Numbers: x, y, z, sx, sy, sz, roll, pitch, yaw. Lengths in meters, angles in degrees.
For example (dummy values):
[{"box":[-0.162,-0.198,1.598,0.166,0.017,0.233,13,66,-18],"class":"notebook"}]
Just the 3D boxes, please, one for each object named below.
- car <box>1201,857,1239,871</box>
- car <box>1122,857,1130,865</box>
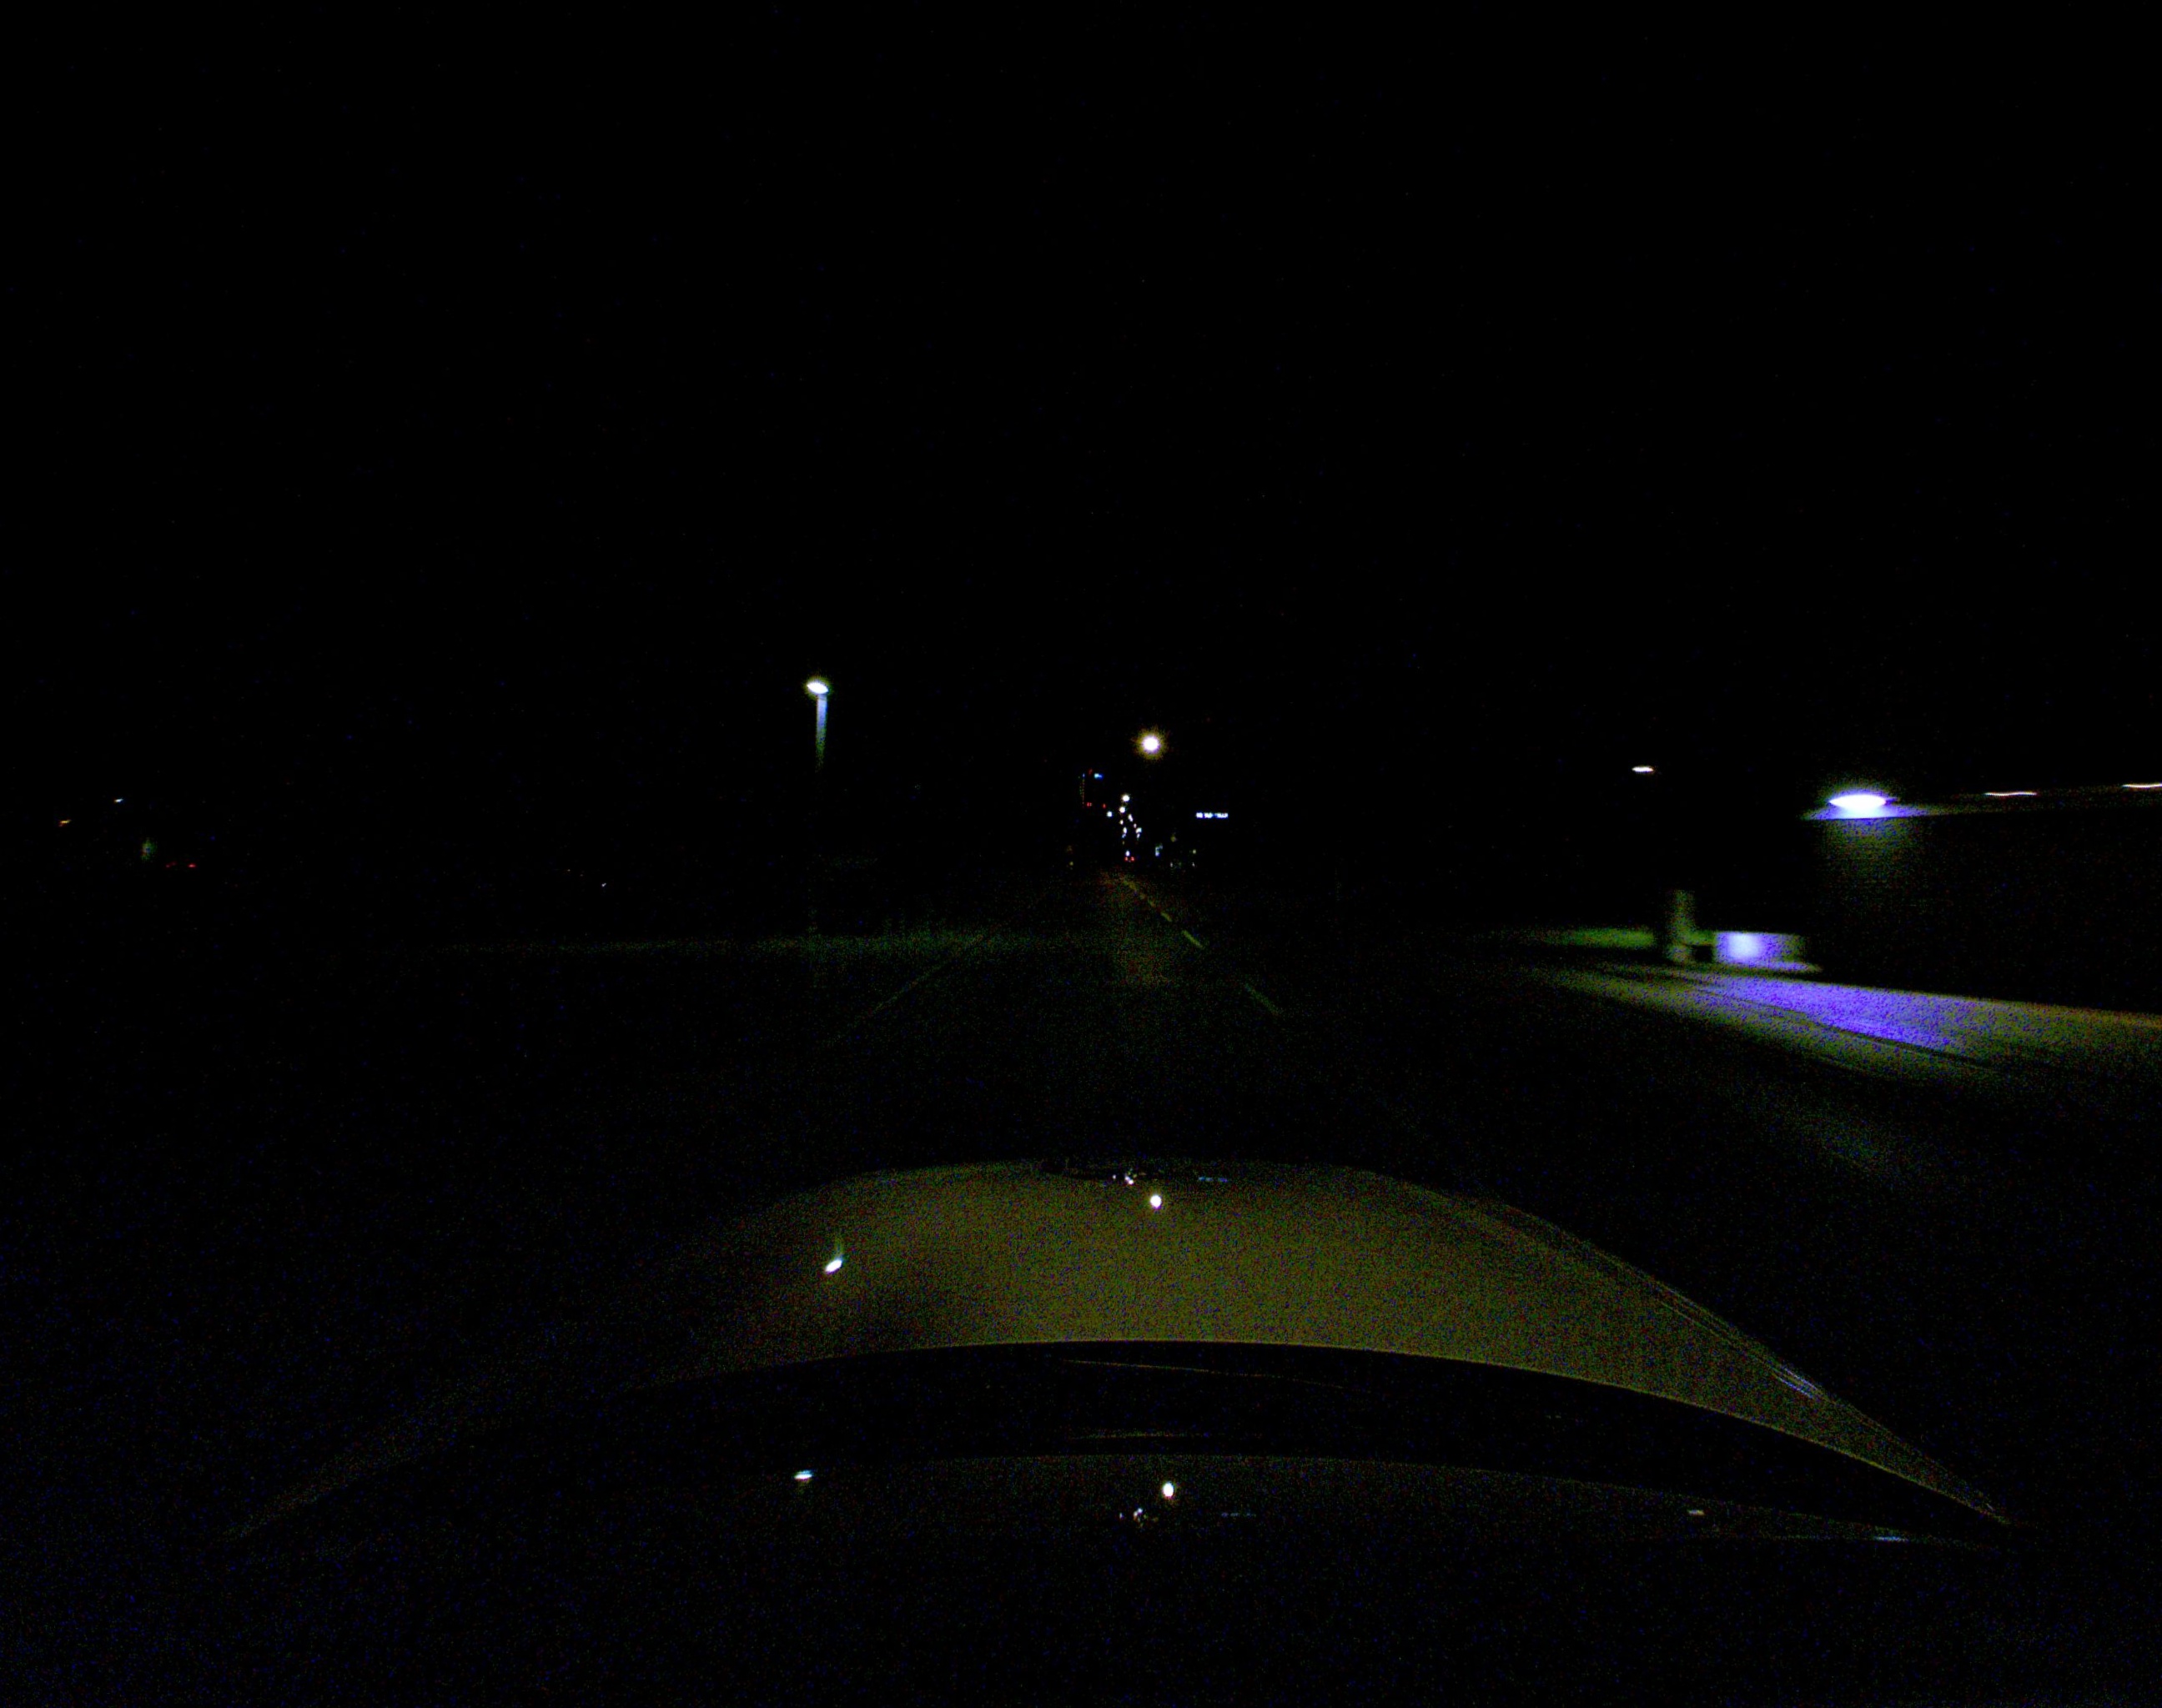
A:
[{"box":[15.412,1.123,90.290,3.827,1.544,1.808,0,-1,-2],"class":"car"},{"box":[11.007,1.637,198.067,1.917,1.854,4.001,0,-2,2],"class":"car"}]
